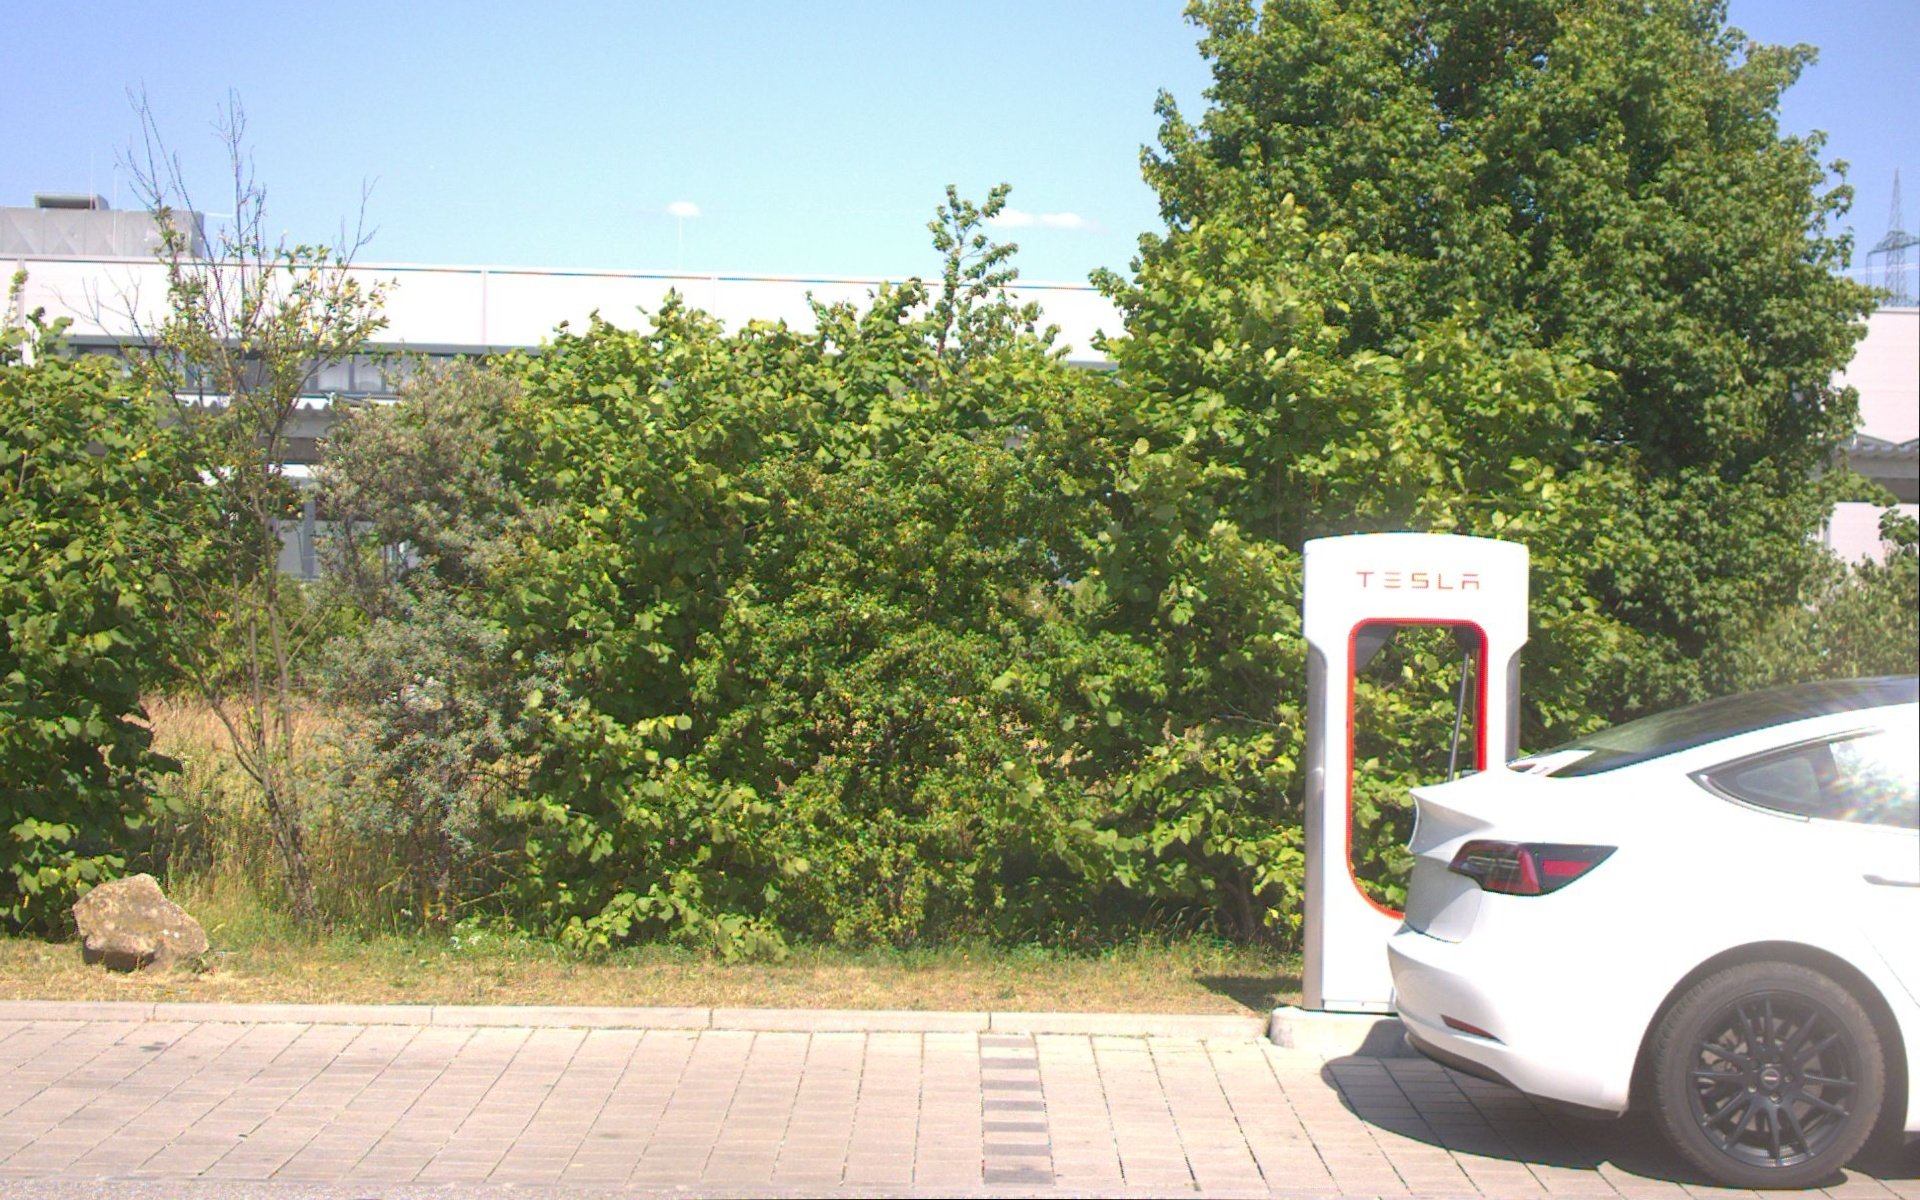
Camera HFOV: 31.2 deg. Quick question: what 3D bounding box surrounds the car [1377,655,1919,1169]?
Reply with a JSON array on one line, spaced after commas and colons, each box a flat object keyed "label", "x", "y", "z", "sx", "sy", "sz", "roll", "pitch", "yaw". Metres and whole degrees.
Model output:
[{"label": "car", "x": 3.620, "y": 0.904, "z": 10.473, "sx": 4.434, "sy": 1.373, "sz": 1.822, "roll": 1, "pitch": 0, "yaw": -1}]
